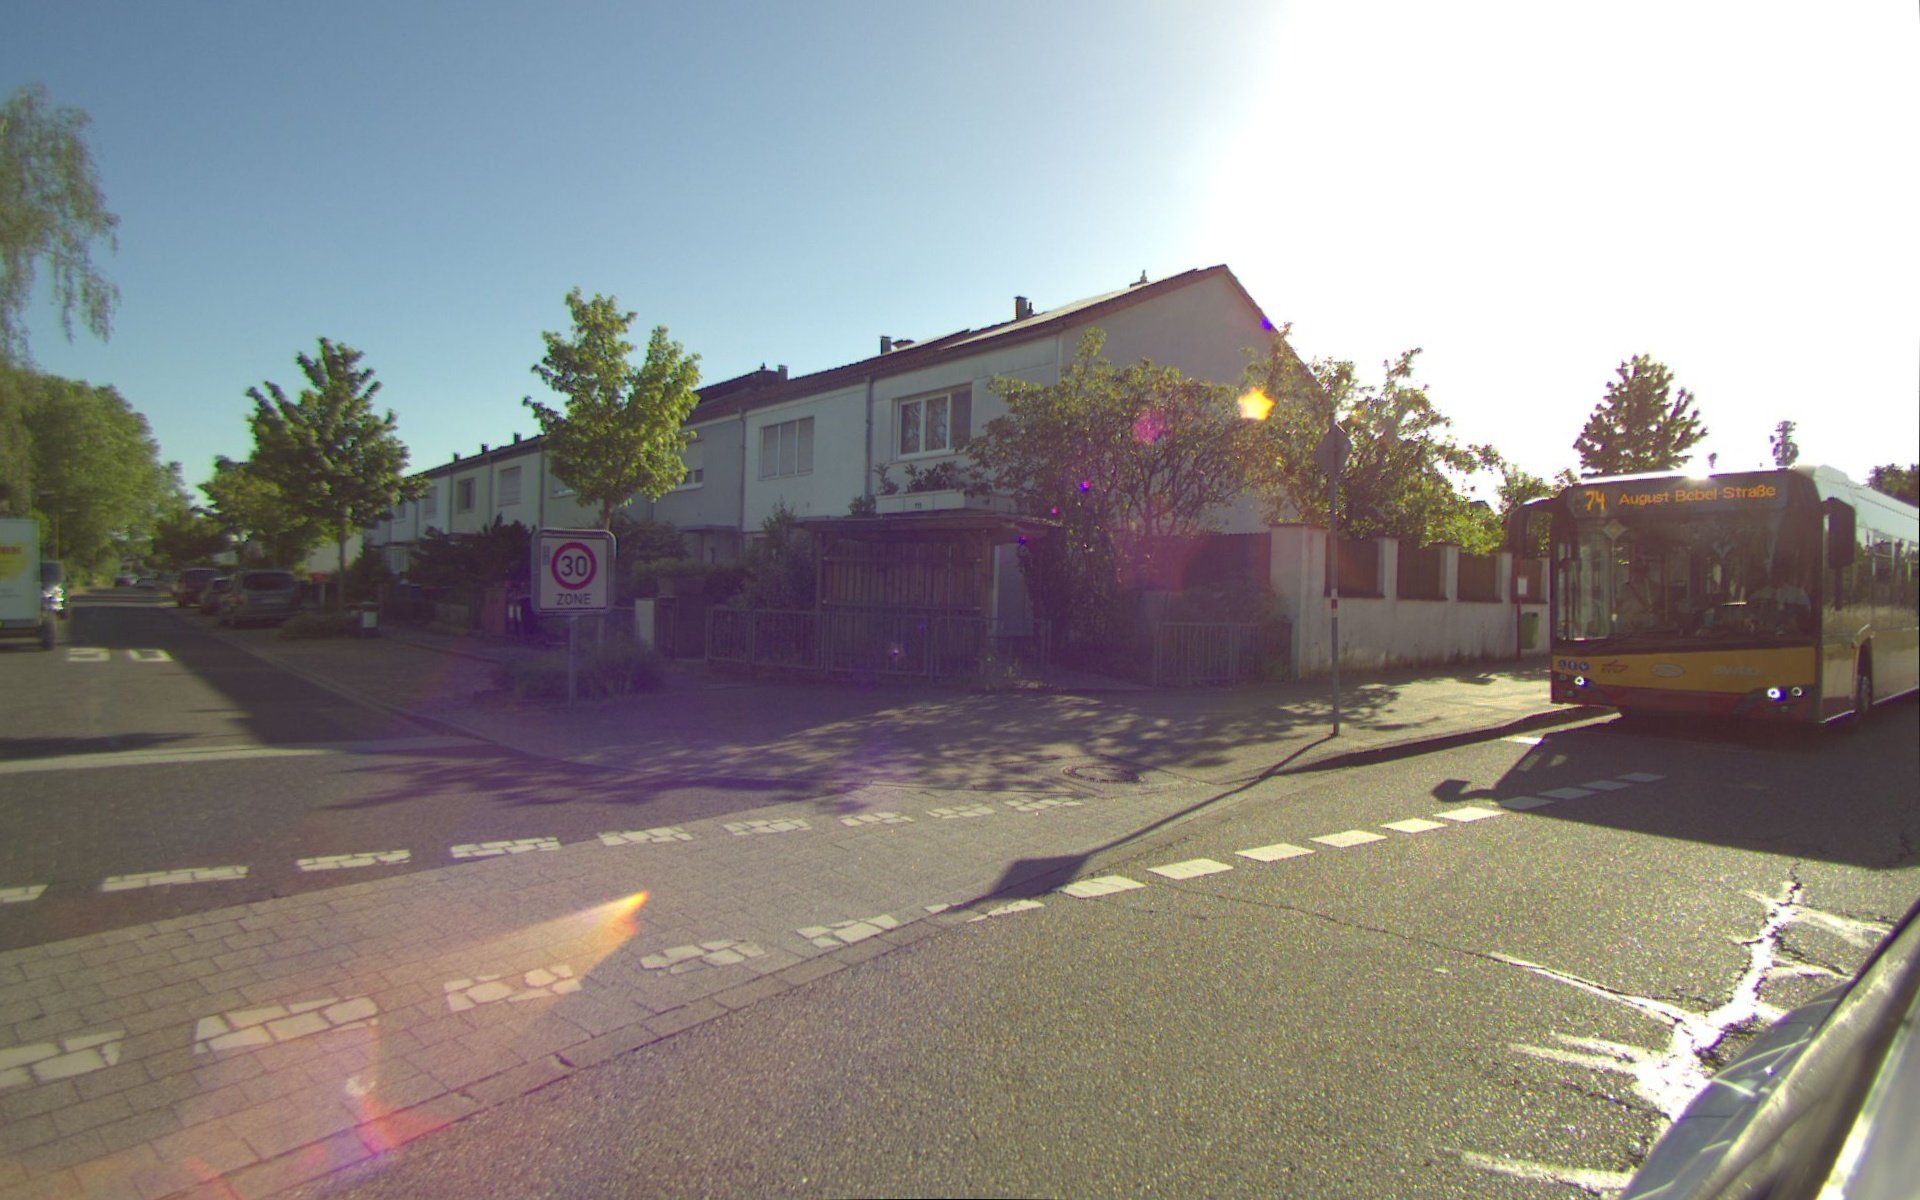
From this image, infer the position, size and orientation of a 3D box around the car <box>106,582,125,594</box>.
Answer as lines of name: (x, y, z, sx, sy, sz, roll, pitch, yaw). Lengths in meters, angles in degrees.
car: (-115.781, -1.640, 138.704, 1.856, 1.629, 3.915, 2, -2, -42)

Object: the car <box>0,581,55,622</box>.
car: (-29.081, 0.050, 31.302, 1.580, 1.210, 3.238, 2, -2, -42)

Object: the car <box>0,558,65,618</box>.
car: (-31.241, -0.367, 34.093, 1.580, 1.928, 3.148, 2, -2, -42)

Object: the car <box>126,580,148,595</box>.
car: (-96.271, -1.430, 118.351, 1.856, 1.629, 3.915, 2, -2, -42)

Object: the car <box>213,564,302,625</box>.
car: (-22.413, -0.128, 32.233, 1.856, 1.799, 3.915, 2, -2, -42)

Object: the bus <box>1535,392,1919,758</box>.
bus: (12.279, -0.365, 14.717, 12.180, 3.501, 2.763, -1, 2, -40)

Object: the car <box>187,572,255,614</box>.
car: (-30.321, -0.248, 41.466, 1.856, 1.608, 3.915, 2, -2, -42)

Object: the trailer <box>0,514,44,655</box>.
trailer: (-19.439, -0.337, 19.942, 2.050, 2.565, 4.961, 0, 1, -42)

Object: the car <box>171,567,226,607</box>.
car: (-38.534, -0.600, 51.195, 1.856, 1.906, 3.915, 2, -2, -42)
